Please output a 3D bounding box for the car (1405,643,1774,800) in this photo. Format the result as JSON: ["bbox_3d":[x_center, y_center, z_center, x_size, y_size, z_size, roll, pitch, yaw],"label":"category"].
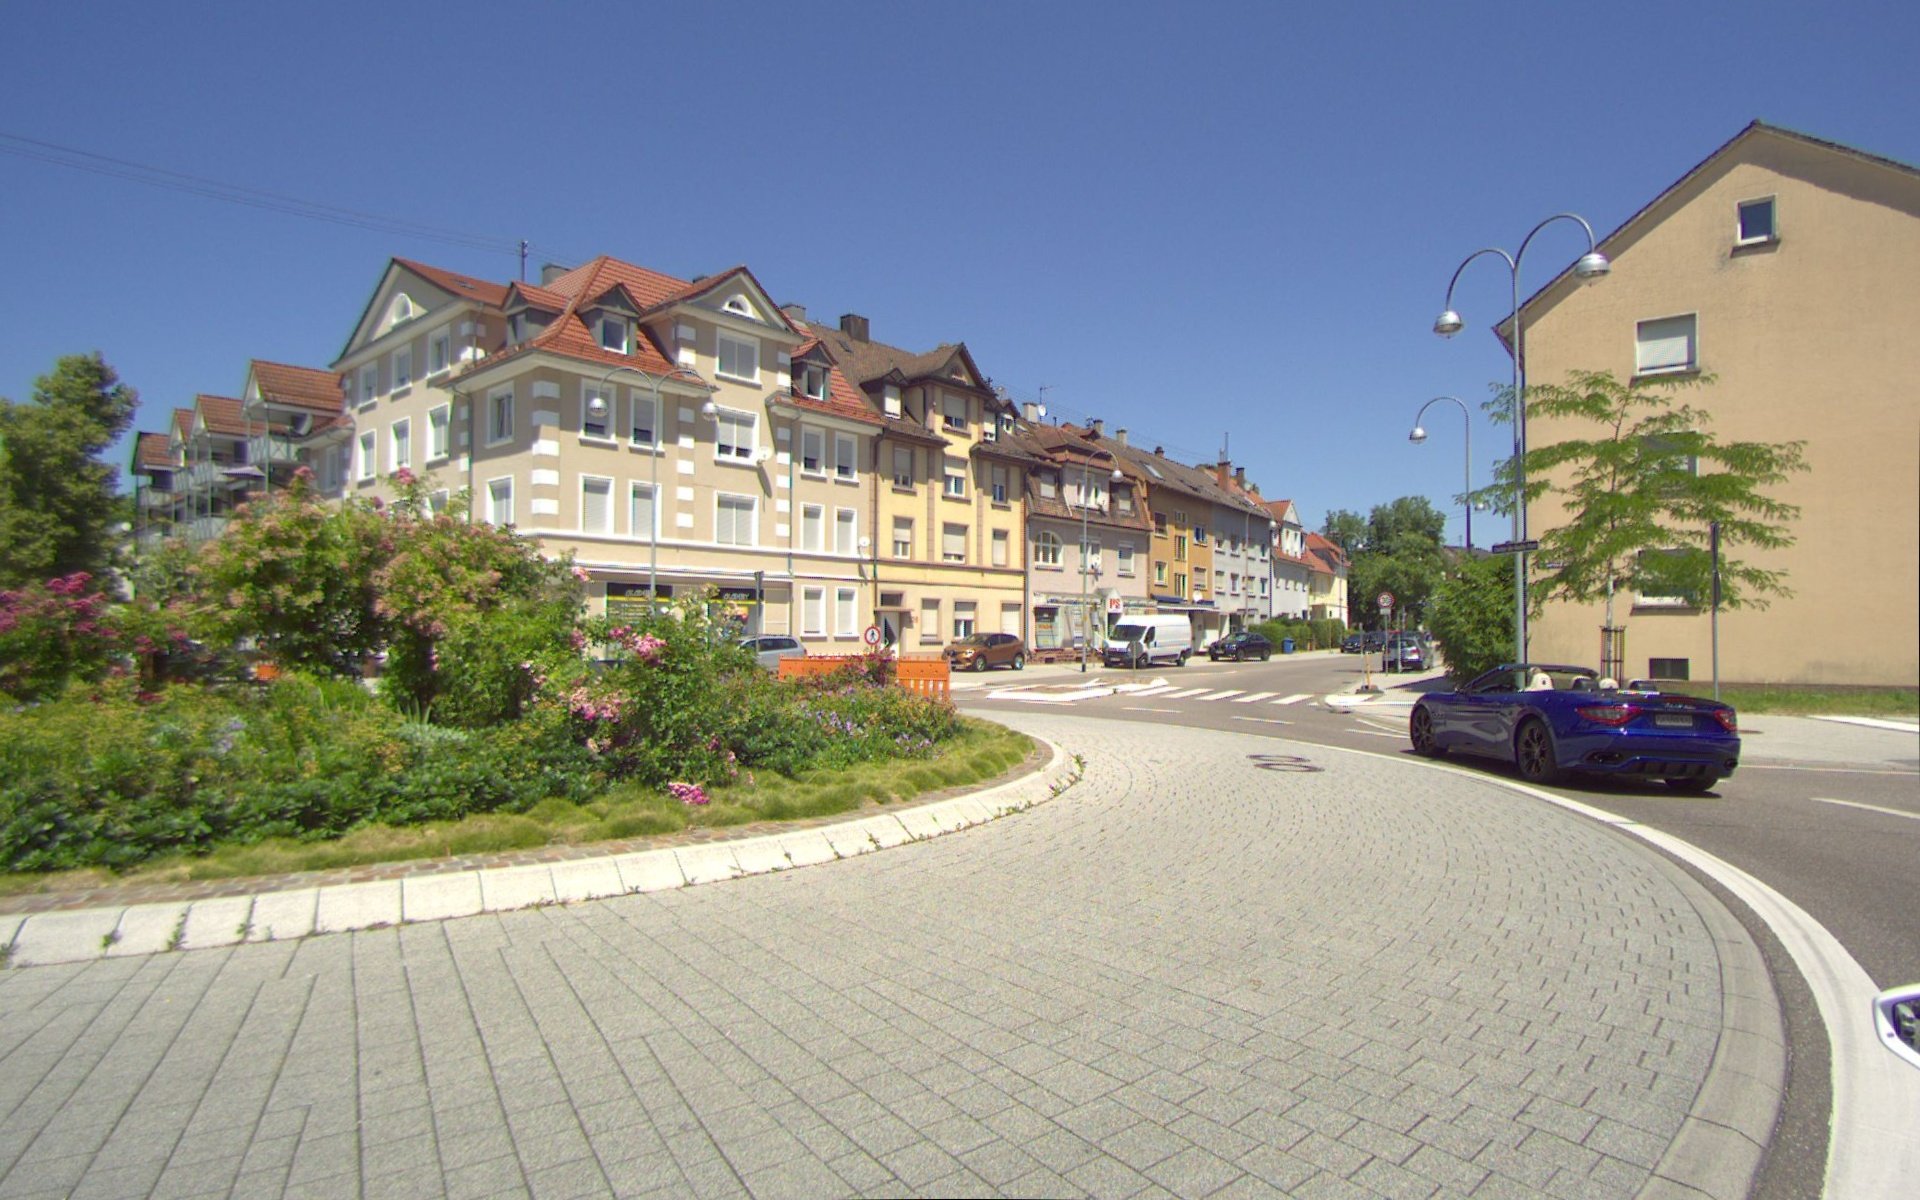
[{"bbox_3d":[7.298,1.373,12.325,1.839,1.549,4.510,0,-4,3],"label":"car"}]

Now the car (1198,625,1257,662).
[{"bbox_3d":[15.308,2.453,57.288,2.040,2.040,3.988,-1,-3,35],"label":"car"}]

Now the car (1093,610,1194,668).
[{"bbox_3d":[8.999,1.878,48.756,2.118,2.566,6.212,1,-1,38],"label":"car"}]

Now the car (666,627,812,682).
[{"bbox_3d":[-7.295,1.767,33.517,1.755,1.708,4.672,-1,-2,40],"label":"car"}]

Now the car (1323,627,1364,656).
[{"bbox_3d":[28.009,3.008,73.248,2.039,2.040,3.990,-1,-3,33],"label":"car"}]

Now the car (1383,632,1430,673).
[{"bbox_3d":[20.308,2.342,45.746,1.848,1.653,3.589,0,0,23],"label":"car"}]

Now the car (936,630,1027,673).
[{"bbox_3d":[0.950,2.126,42.127,1.580,1.638,4.072,2,0,40],"label":"car"}]
